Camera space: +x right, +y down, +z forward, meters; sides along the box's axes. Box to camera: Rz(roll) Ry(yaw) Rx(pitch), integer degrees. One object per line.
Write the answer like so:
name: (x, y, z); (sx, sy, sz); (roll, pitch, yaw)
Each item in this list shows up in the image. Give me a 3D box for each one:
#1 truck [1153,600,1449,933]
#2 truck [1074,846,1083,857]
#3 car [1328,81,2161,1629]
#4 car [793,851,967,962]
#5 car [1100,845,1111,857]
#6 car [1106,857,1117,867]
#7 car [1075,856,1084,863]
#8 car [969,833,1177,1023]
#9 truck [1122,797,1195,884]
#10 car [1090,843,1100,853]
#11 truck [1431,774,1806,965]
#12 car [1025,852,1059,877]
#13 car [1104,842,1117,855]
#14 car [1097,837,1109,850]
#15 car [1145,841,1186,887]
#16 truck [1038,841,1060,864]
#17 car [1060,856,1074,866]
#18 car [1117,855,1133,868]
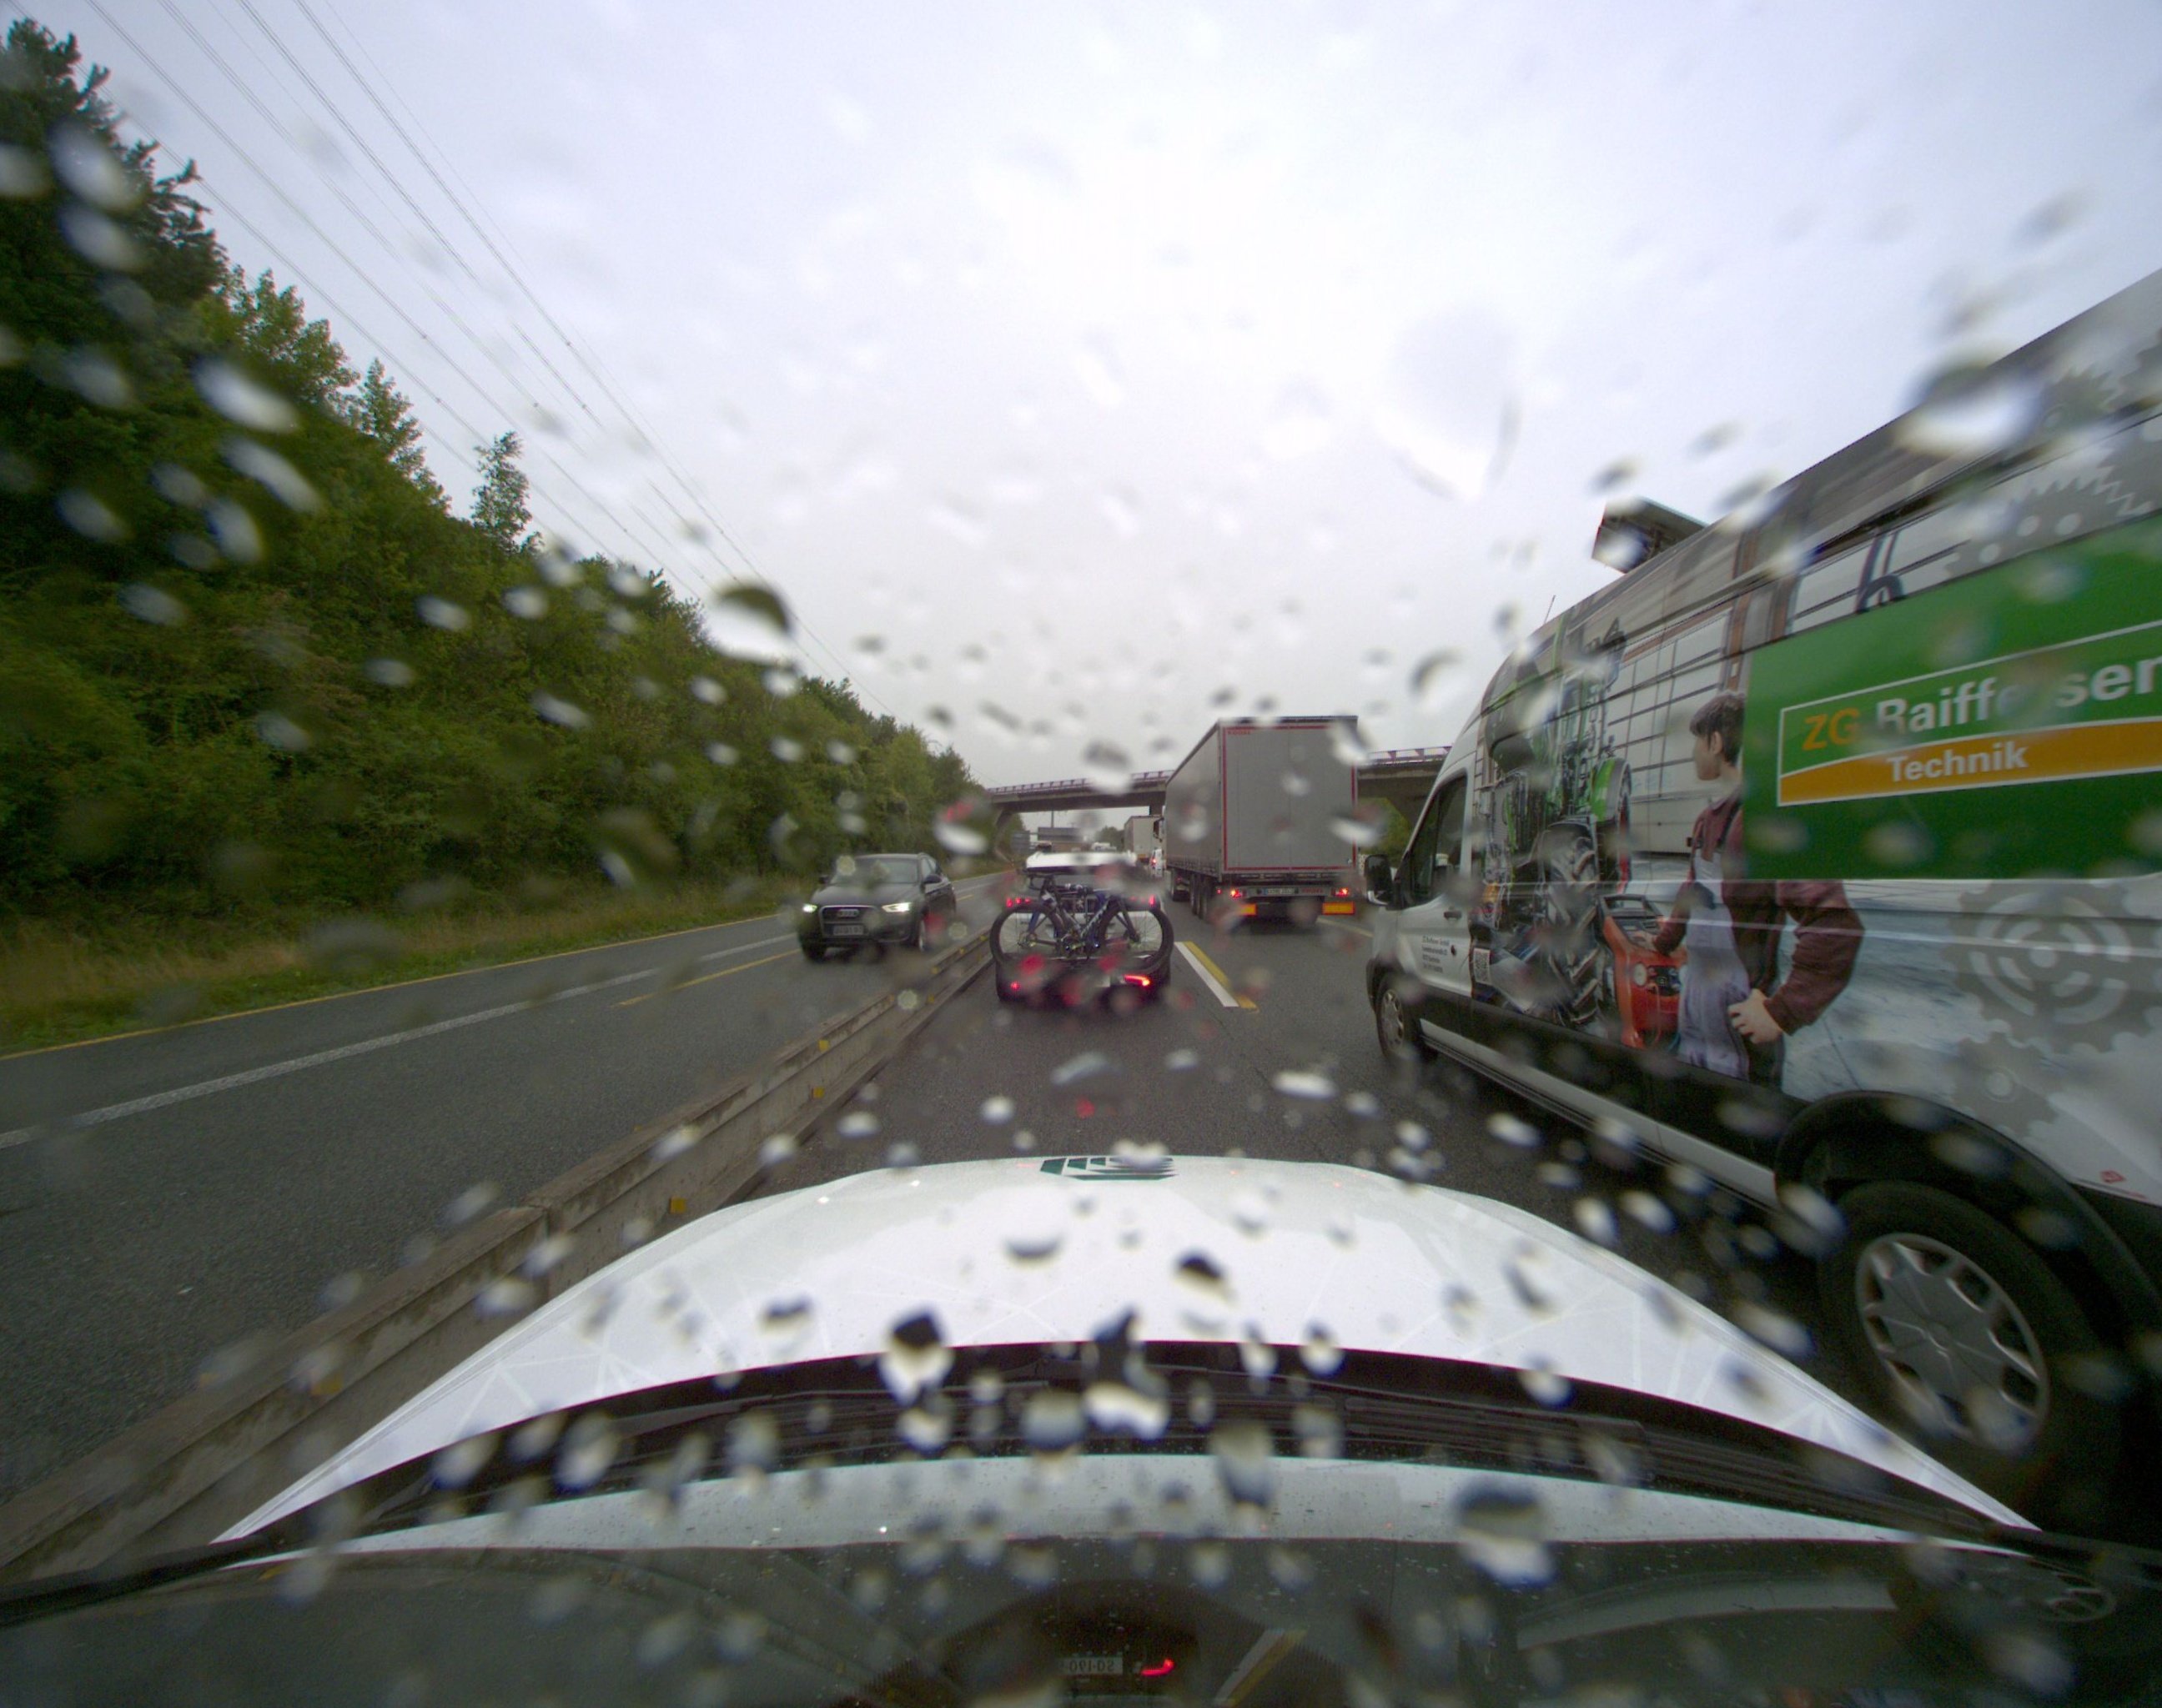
truck: (4.672, -1.427, 24.167); (3.964, 5.673, 20.385); (-1, 0, 2)
truck: (-0.817, -0.659, 259.183); (2.526, 3.352, 12.052); (-1, 0, 1)
car: (3.047, 0.019, 3.837); (2.136, 2.676, 6.121); (-1, -1, 2)
car: (-3.138, 0.758, 13.561); (1.804, 1.559, 3.990); (-1, -1, 1)
car: (4.320, -0.518, 142.266); (1.986, 2.014, 4.002); (-1, -1, 2)
car: (4.436, 1.155, 117.631); (1.632, 1.497, 3.668); (-1, -1, 2)
car: (-0.245, 1.022, 149.796); (1.680, 1.409, 3.930); (-1, 0, 0)
car: (0.056, 0.665, 9.403); (1.802, 1.637, 4.639); (-1, 0, 3)
truck: (5.655, -0.788, 63.703); (4.723, 5.673, 20.392); (-1, 0, 3)
car: (2.920, -1.317, 174.355); (1.986, 2.126, 4.529); (-1, -1, 2)
truck: (10.863, 0.288, 18.059); (2.511, 3.132, 9.122); (-1, 0, 2)
car: (-2.442, 0.659, 51.908); (1.804, 1.488, 4.397); (-1, 0, 1)
car: (4.764, -0.821, 129.759); (1.986, 2.014, 4.002); (-1, -1, 2)
car: (4.259, -1.963, 155.060); (2.230, 2.307, 4.574); (-1, -1, 2)
car: (4.274, 0.496, 41.538); (1.664, 2.180, 4.535); (-1, -1, 1)
truck: (-5.253, -0.220, 136.293); (2.671, 3.656, 12.317); (-1, 0, 2)
car: (-2.017, 1.023, 118.831); (1.773, 1.443, 4.328); (-1, 0, 1)
car: (4.935, 0.827, 91.577); (1.632, 1.497, 3.668); (-1, -1, 2)
